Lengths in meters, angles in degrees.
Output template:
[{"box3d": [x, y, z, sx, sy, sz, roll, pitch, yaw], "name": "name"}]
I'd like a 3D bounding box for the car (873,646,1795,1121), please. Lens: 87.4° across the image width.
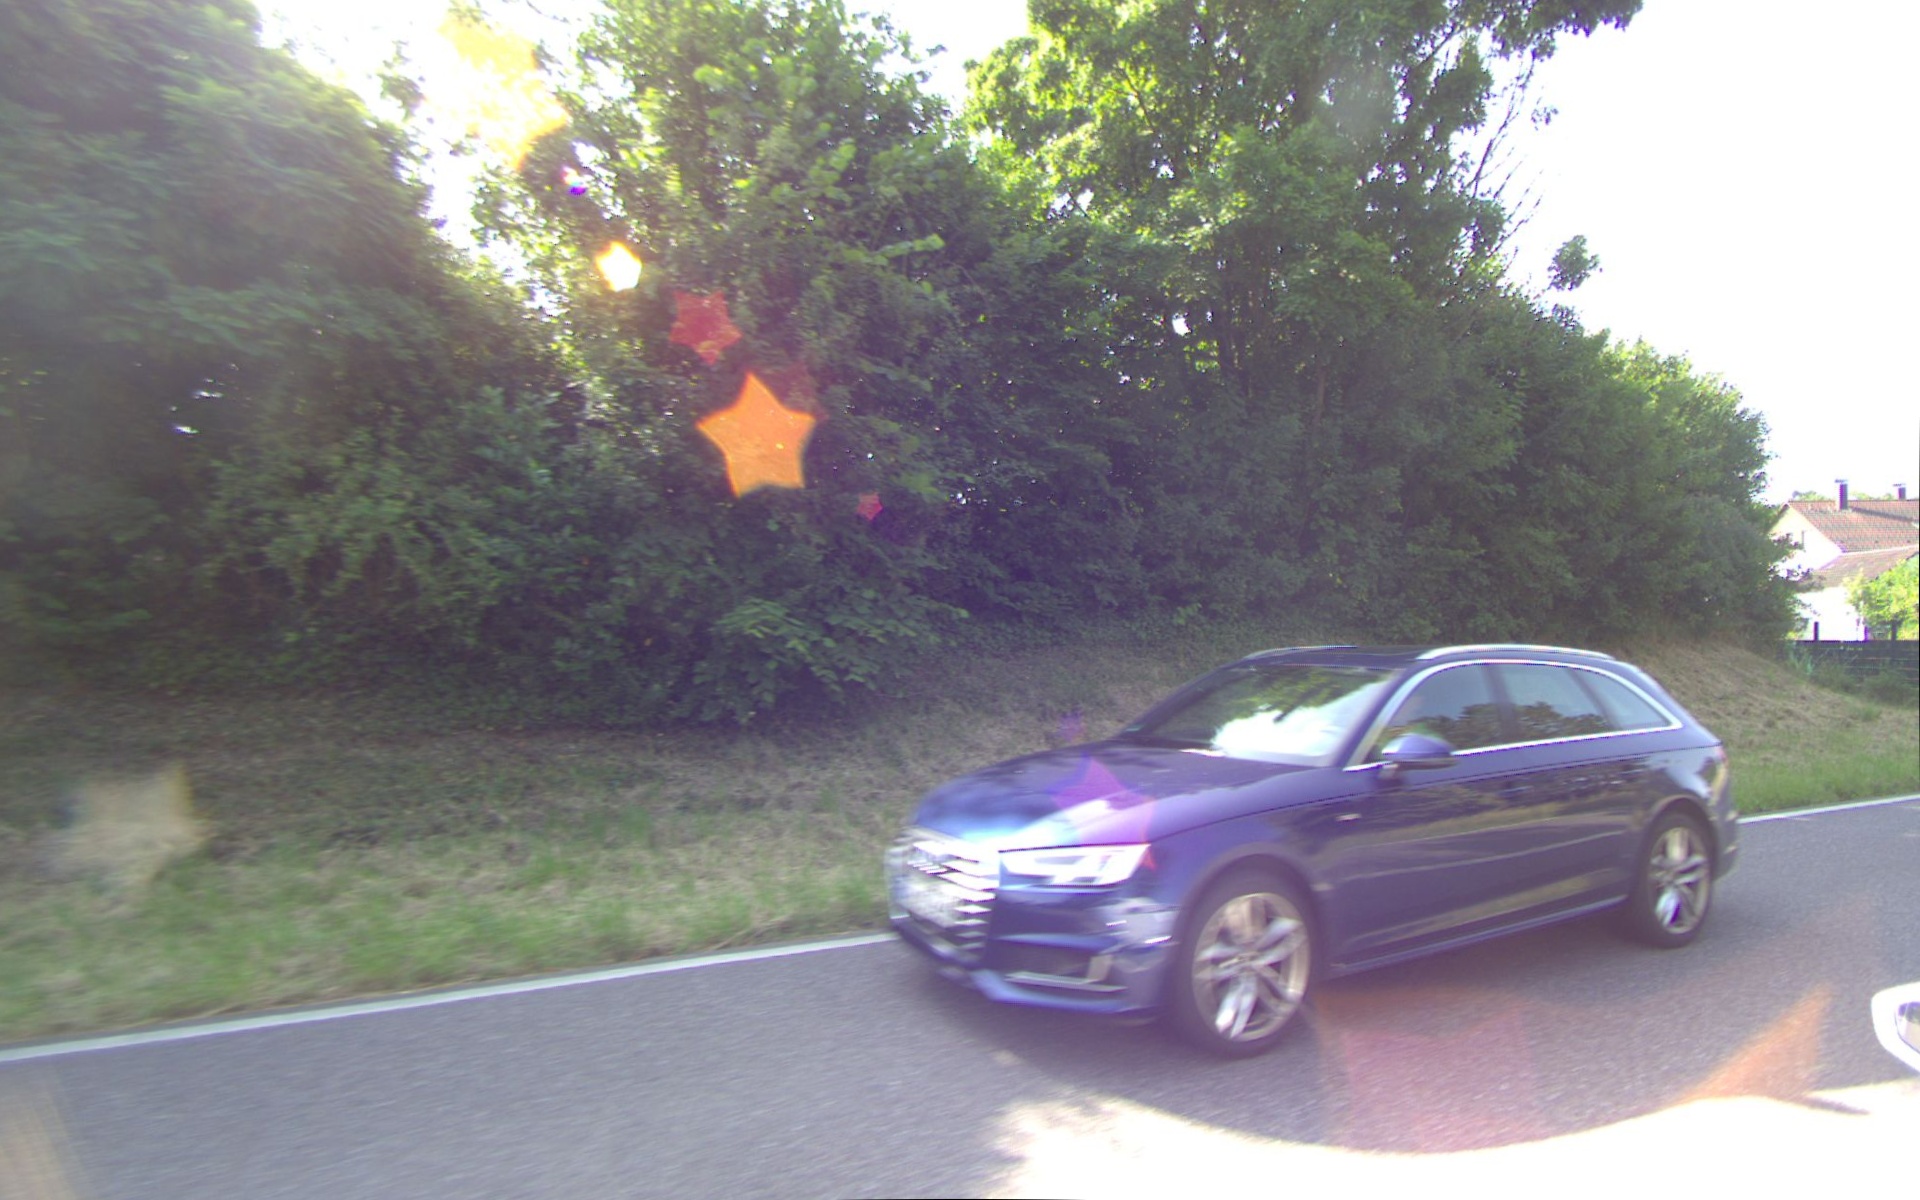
[{"box3d": [2.002, 0.972, 5.044, 4.522, 1.442, 1.862, 1, -4, -30], "name": "car"}]
